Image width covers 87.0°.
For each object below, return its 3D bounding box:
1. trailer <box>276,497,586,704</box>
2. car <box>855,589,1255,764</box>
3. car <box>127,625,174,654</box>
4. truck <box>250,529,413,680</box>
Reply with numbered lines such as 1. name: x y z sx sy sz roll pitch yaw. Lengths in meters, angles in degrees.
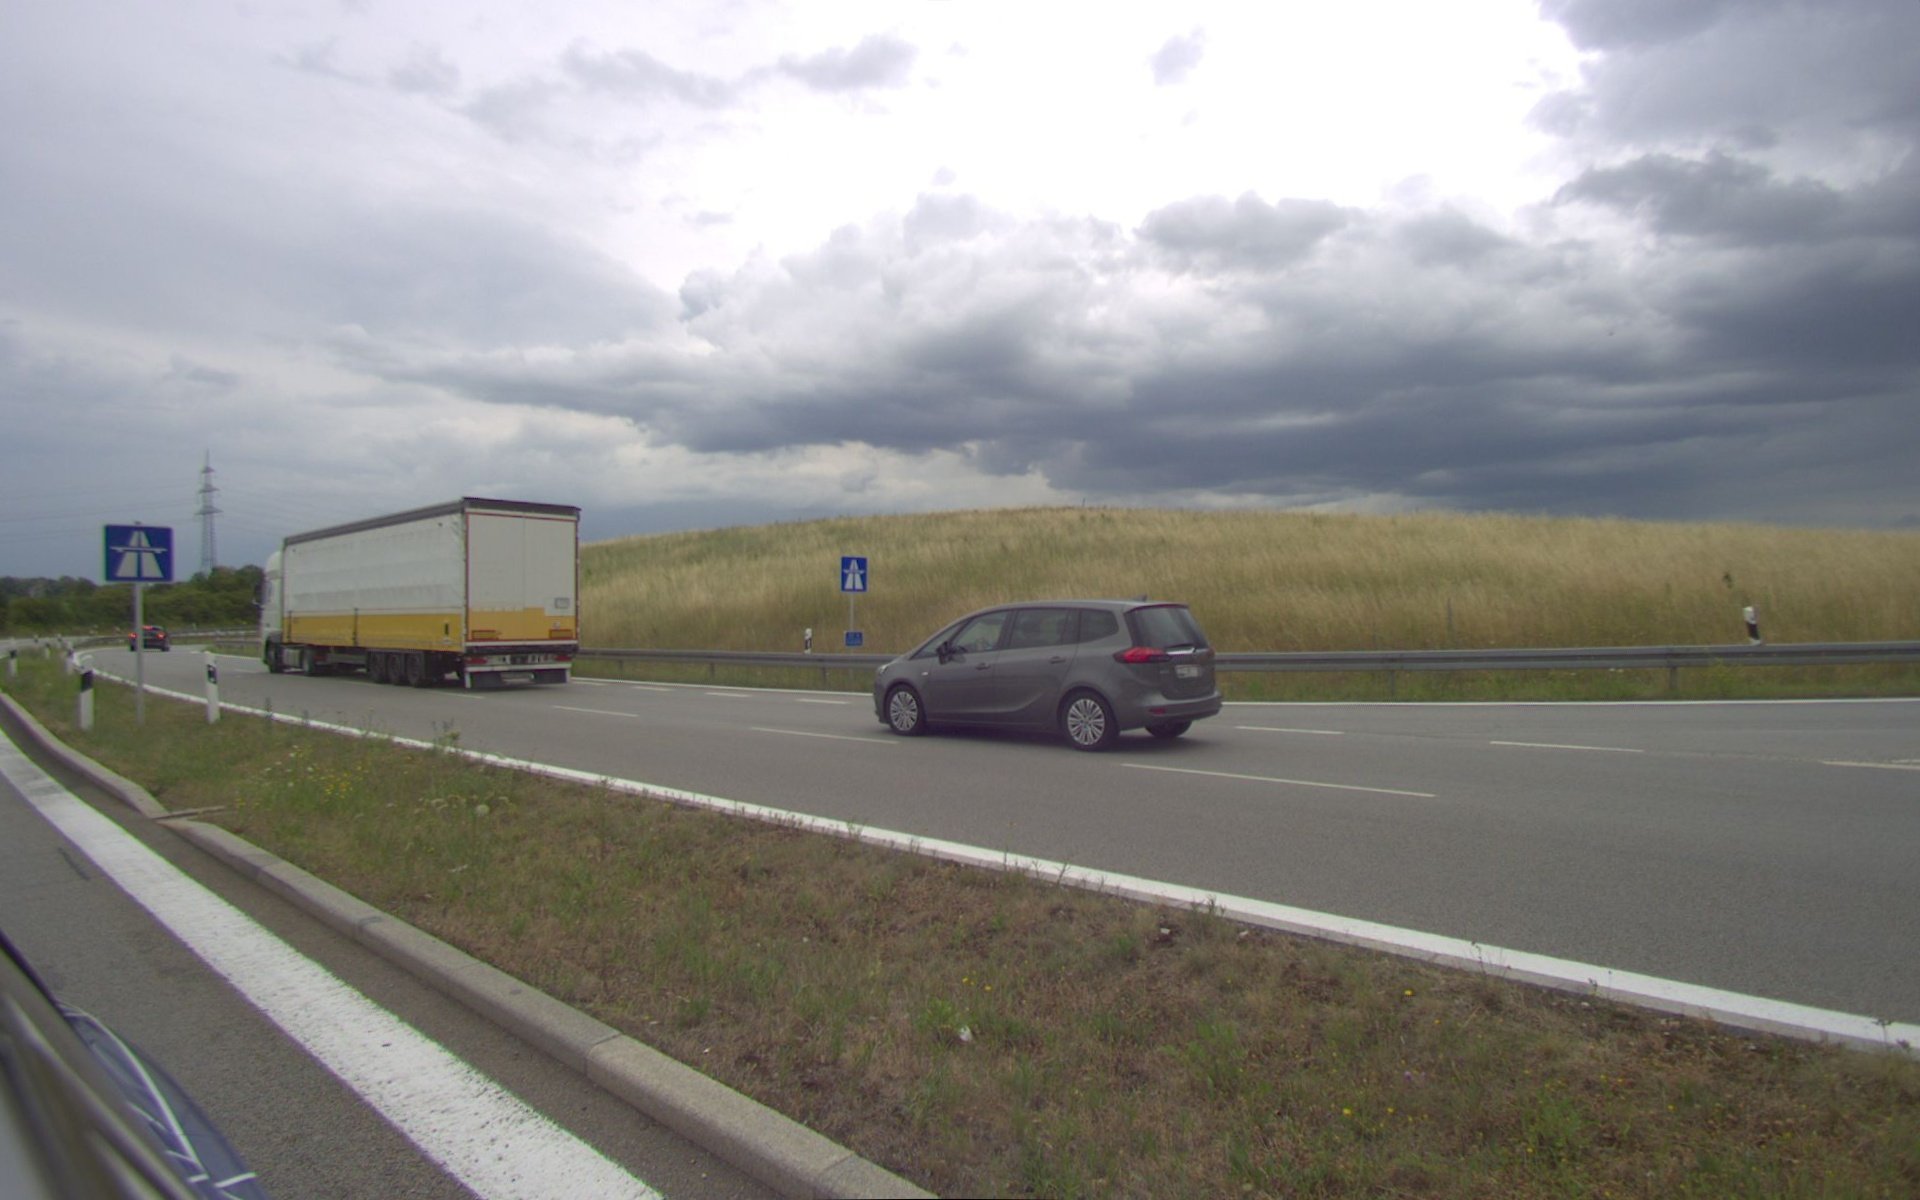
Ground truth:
1. trailer: -14.370 0.063 26.403 13.840 4.242 2.663 -1 0 43
2. car: 0.991 0.757 12.084 4.453 1.707 1.973 -1 0 41
3. car: -51.152 2.454 63.900 1.970 1.696 4.117 -1 0 -44
4. truck: -19.380 0.135 31.053 6.403 4.172 2.621 -1 0 43
